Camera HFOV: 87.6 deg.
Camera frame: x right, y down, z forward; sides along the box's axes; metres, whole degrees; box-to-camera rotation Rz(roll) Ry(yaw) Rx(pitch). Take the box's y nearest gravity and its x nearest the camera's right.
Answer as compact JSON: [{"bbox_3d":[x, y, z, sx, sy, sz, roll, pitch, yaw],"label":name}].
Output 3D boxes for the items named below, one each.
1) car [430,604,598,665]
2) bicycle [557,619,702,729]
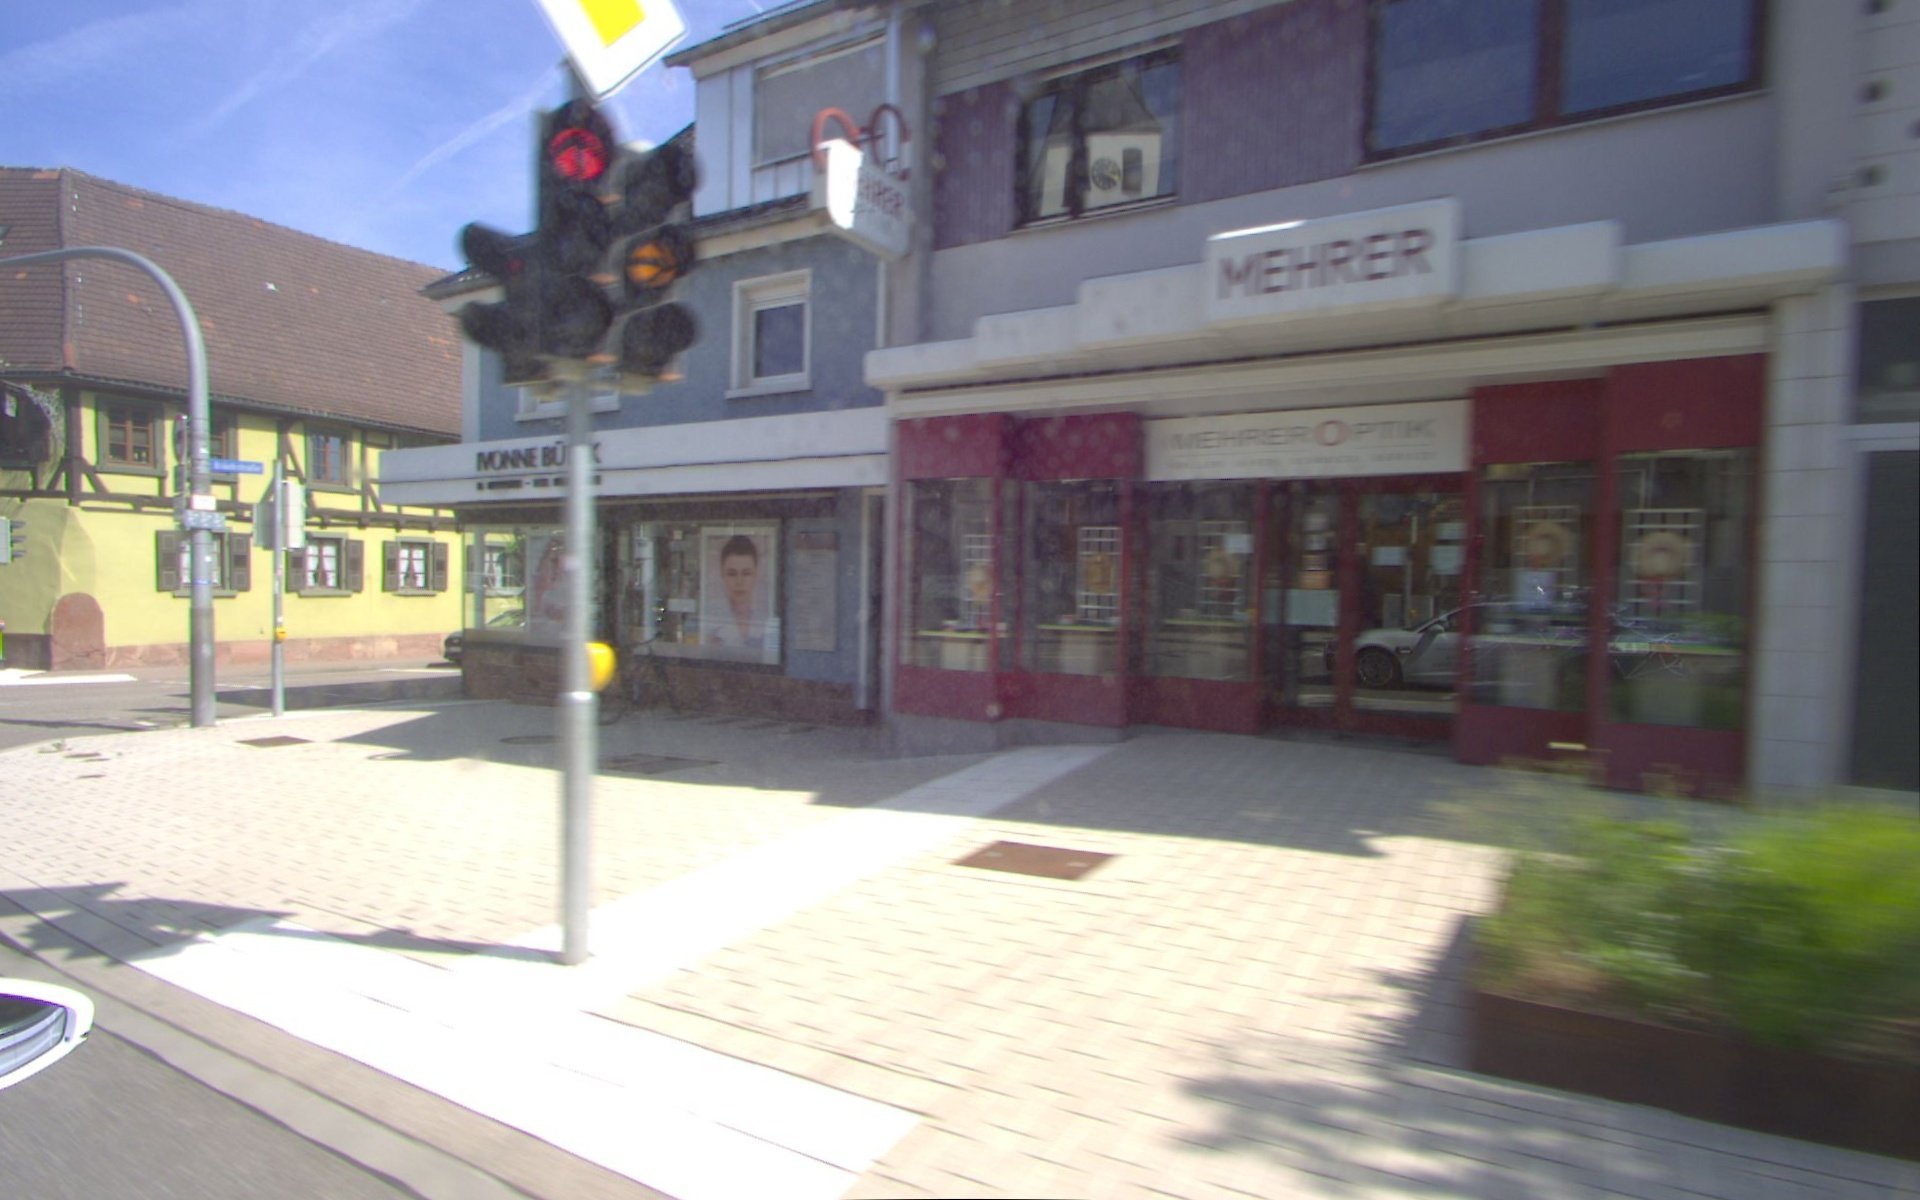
[{"bbox_3d":[-12.751,0.960,28.938,1.732,1.631,4.416,-1,-1,24],"label":"car"},{"bbox_3d":[-4.134,0.888,12.662,0.542,1.251,1.799,1,1,33],"label":"bicycle"}]
